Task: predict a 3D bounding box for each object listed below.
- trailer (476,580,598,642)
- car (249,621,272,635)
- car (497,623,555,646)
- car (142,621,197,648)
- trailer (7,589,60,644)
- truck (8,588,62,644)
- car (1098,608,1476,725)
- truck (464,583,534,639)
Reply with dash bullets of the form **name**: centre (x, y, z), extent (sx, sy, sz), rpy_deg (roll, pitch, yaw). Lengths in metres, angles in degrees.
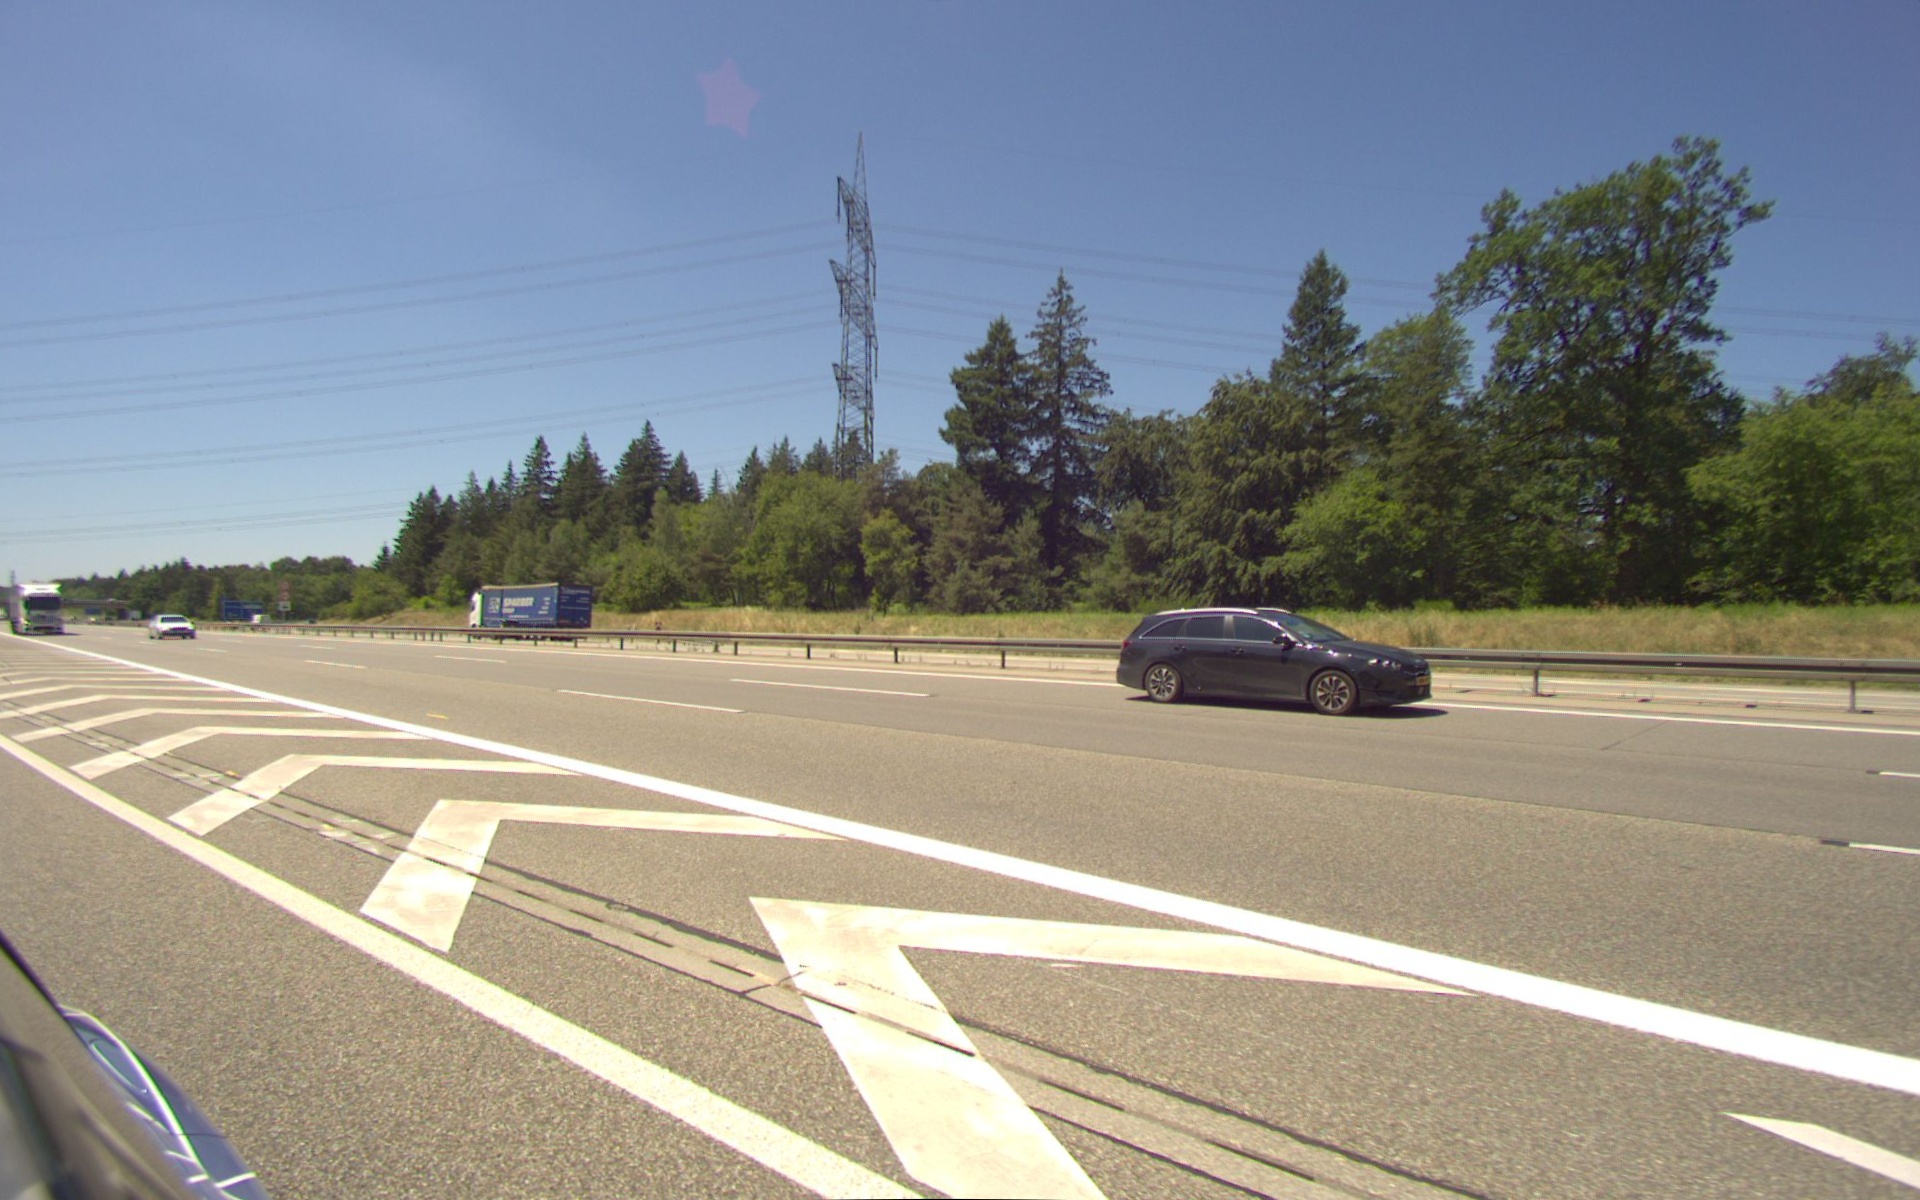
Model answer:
- **trailer**: centre (-31.679, 0.832, 75.268), extent (13.989, 4.204, 3.166), rpy_deg (-1, -3, 45)
- **car**: centre (-127.431, 5.020, 184.293), extent (6.459, 2.534, 2.279), rpy_deg (-1, -2, 44)
- **car**: centre (-28.153, 2.239, 65.596), extent (4.434, 1.413, 1.742), rpy_deg (-1, -3, 43)
- **car**: centre (-49.060, 2.133, 62.784), extent (5.406, 1.515, 1.942), rpy_deg (0, 0, 44)
- **trailer**: centre (-75.600, 1.385, 82.506), extent (2.940, 4.174, 11.705), rpy_deg (1, -2, -43)
- **truck**: centre (-71.647, 1.298, 78.351), extent (2.937, 4.174, 5.353), rpy_deg (1, -2, -44)
- **car**: centre (4.587, 0.864, 14.837), extent (5.001, 1.442, 1.811), rpy_deg (-1, -1, 44)
- **truck**: centre (-36.588, 0.889, 80.206), extent (5.726, 4.204, 3.166), rpy_deg (-1, -3, 45)
